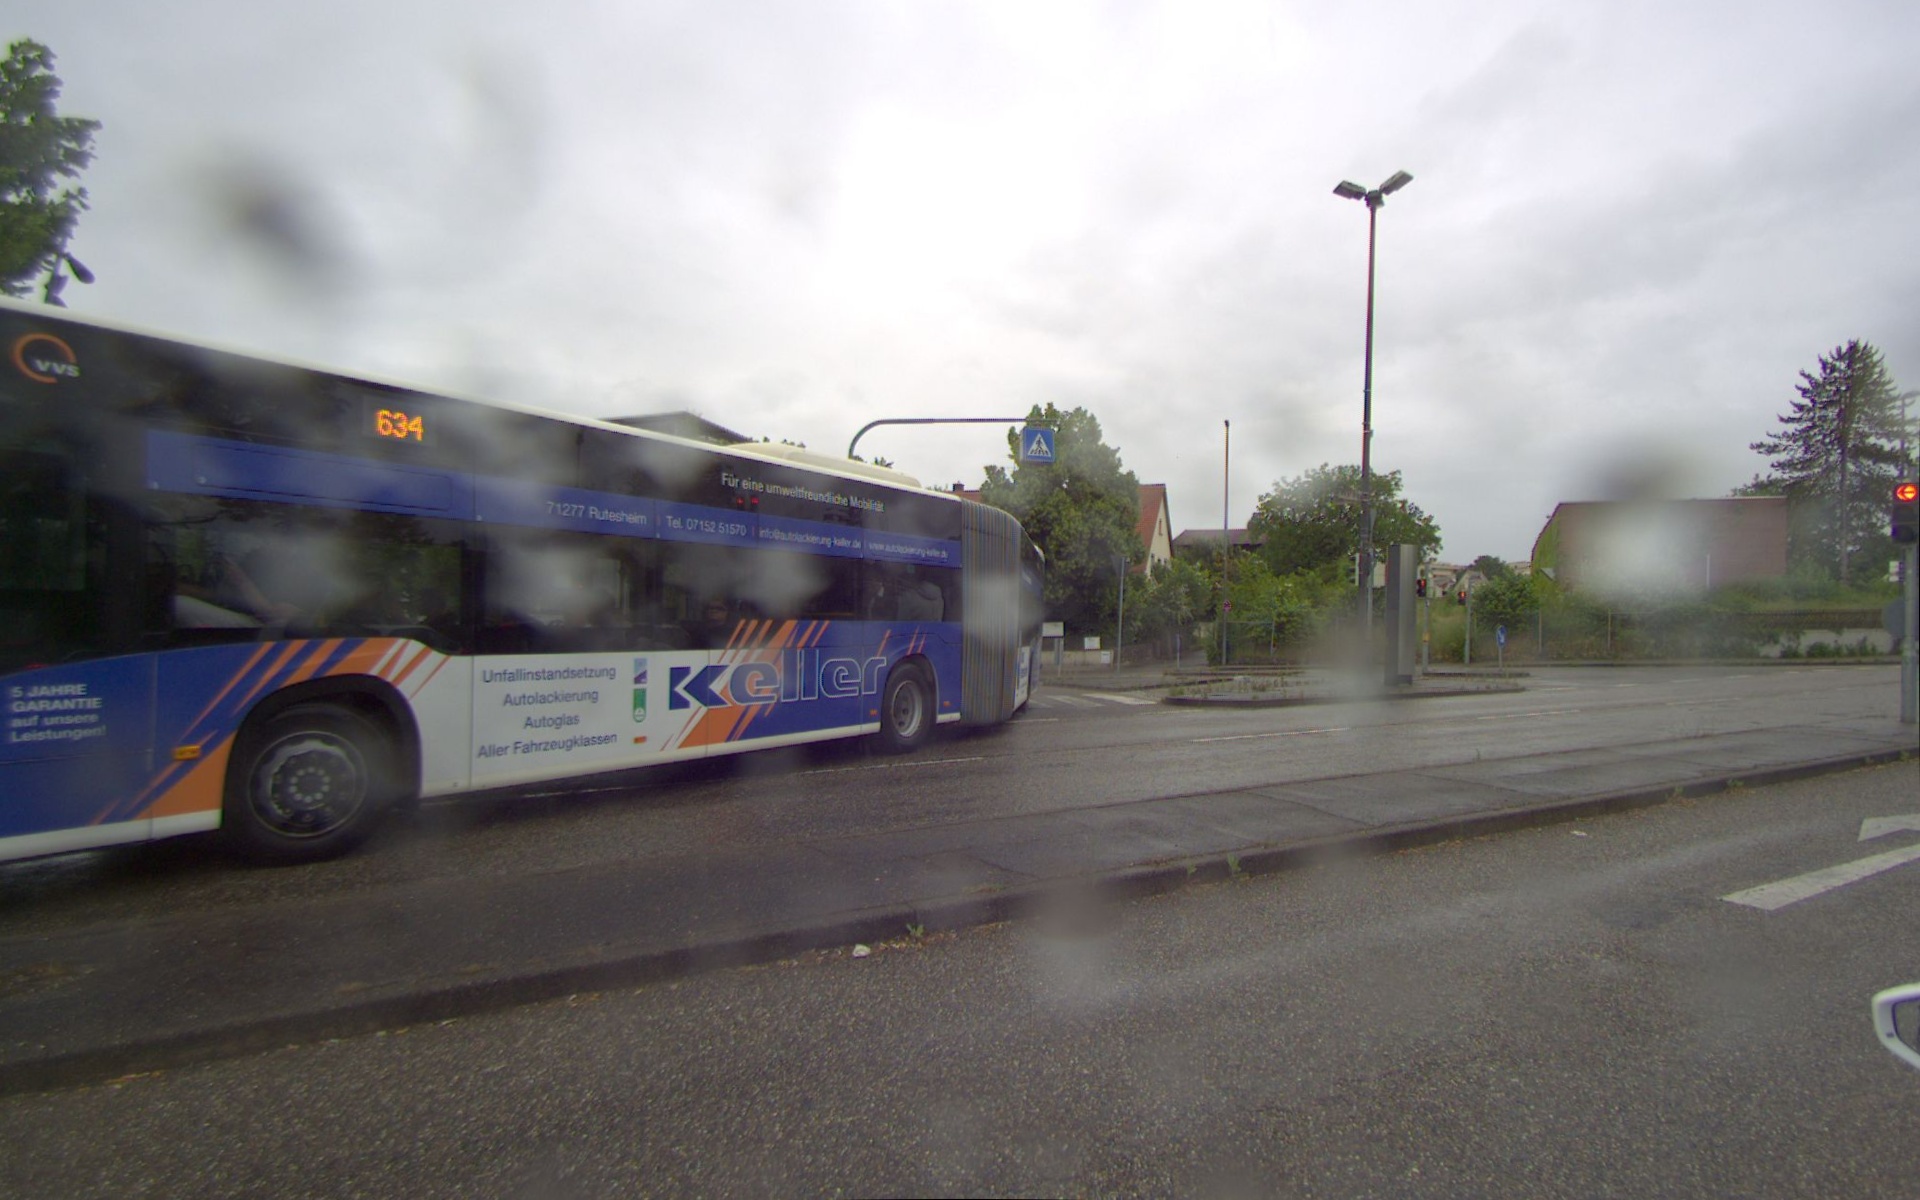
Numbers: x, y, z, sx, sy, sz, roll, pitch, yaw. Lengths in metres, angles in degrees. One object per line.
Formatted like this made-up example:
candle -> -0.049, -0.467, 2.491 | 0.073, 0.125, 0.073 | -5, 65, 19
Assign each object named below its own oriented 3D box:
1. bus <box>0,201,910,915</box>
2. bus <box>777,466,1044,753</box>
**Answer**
bus -> -3.978, -0.083, 7.601 | 2.751, 3.155, 8.867 | 0, -2, 31
bus -> -0.176, 0.238, 15.827 | 2.729, 3.155, 9.375 | 1, -2, 6
